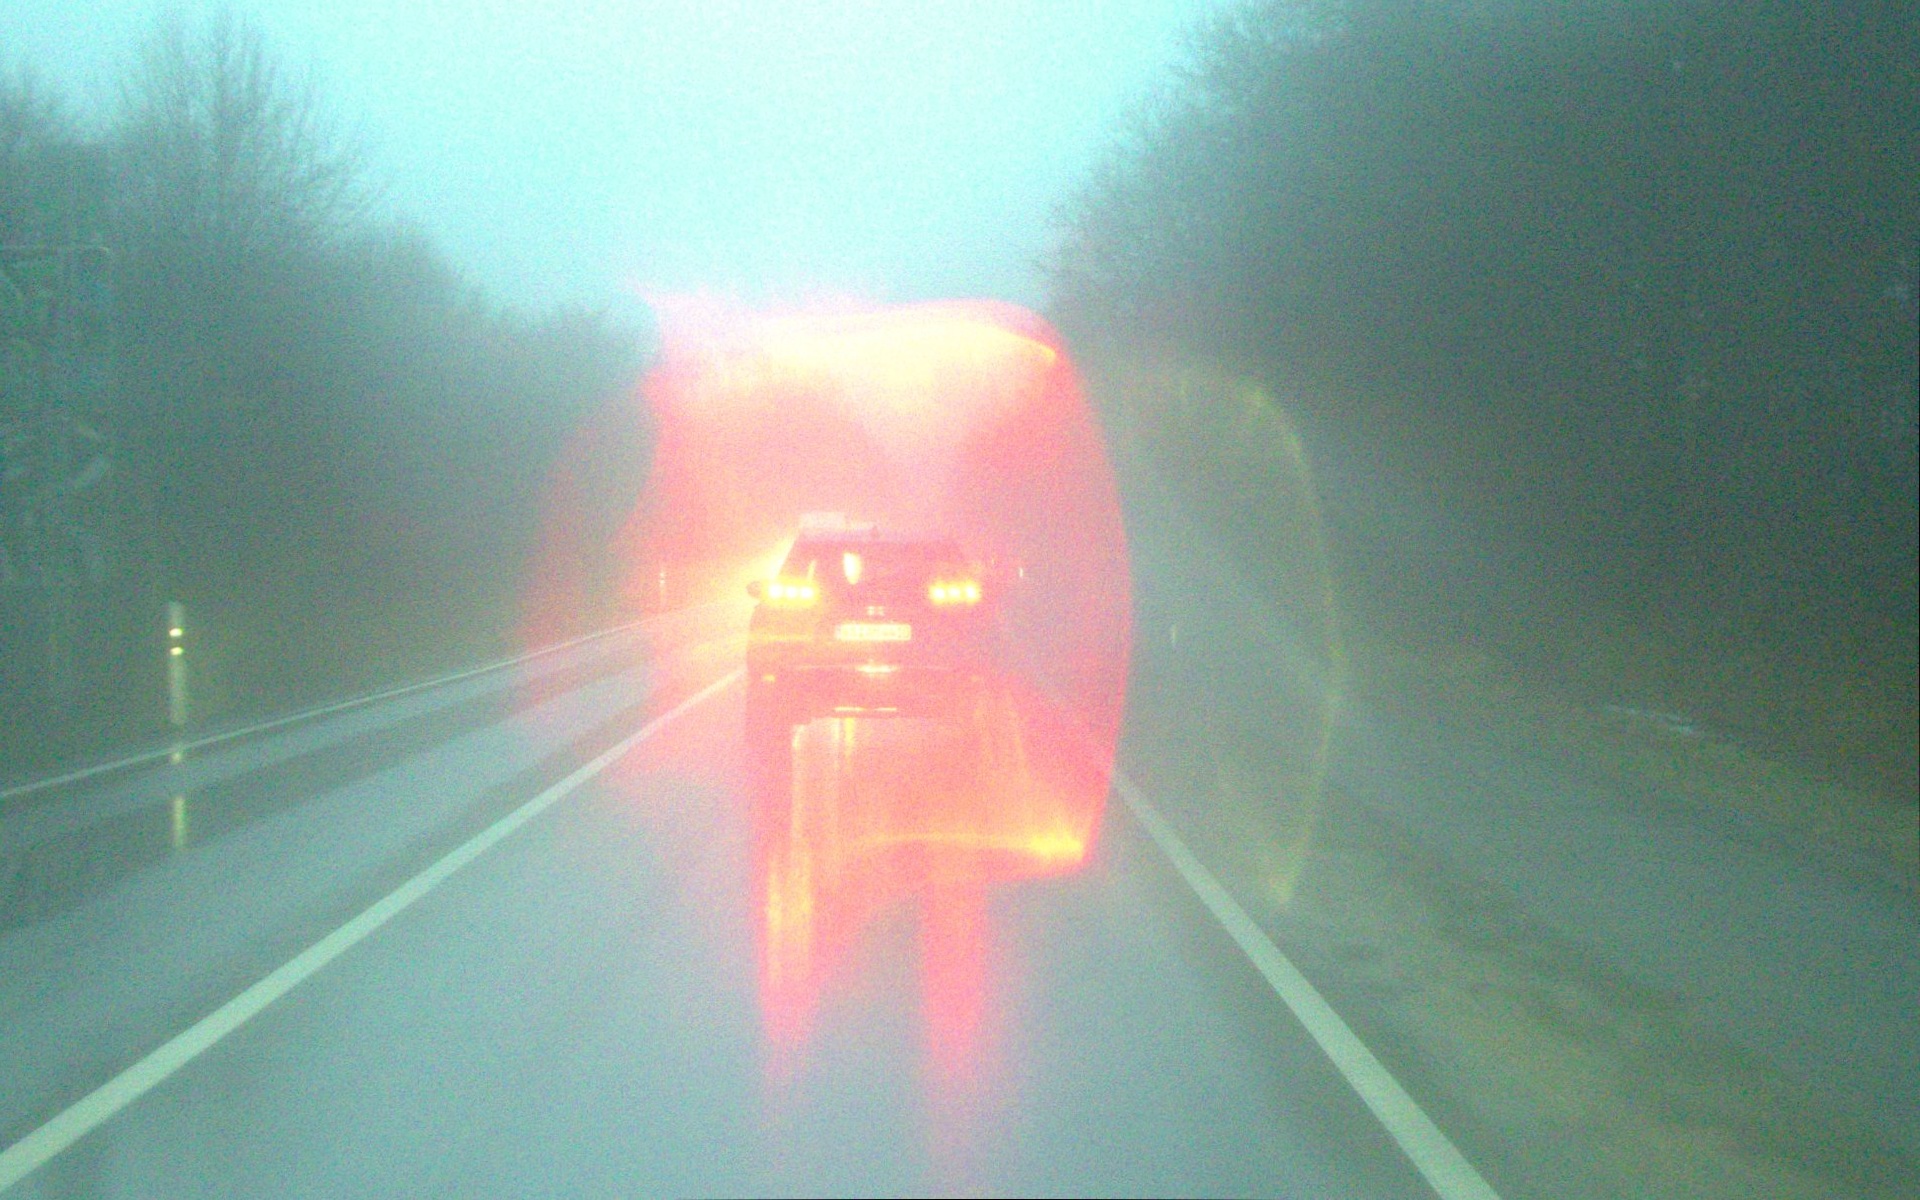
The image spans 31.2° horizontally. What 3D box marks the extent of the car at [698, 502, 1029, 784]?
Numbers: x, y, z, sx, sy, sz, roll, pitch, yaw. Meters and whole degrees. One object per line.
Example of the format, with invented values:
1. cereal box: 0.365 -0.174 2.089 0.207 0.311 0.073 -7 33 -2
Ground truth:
1. car: -0.681 0.258 25.489 2.198 1.871 4.827 1 1 -1
